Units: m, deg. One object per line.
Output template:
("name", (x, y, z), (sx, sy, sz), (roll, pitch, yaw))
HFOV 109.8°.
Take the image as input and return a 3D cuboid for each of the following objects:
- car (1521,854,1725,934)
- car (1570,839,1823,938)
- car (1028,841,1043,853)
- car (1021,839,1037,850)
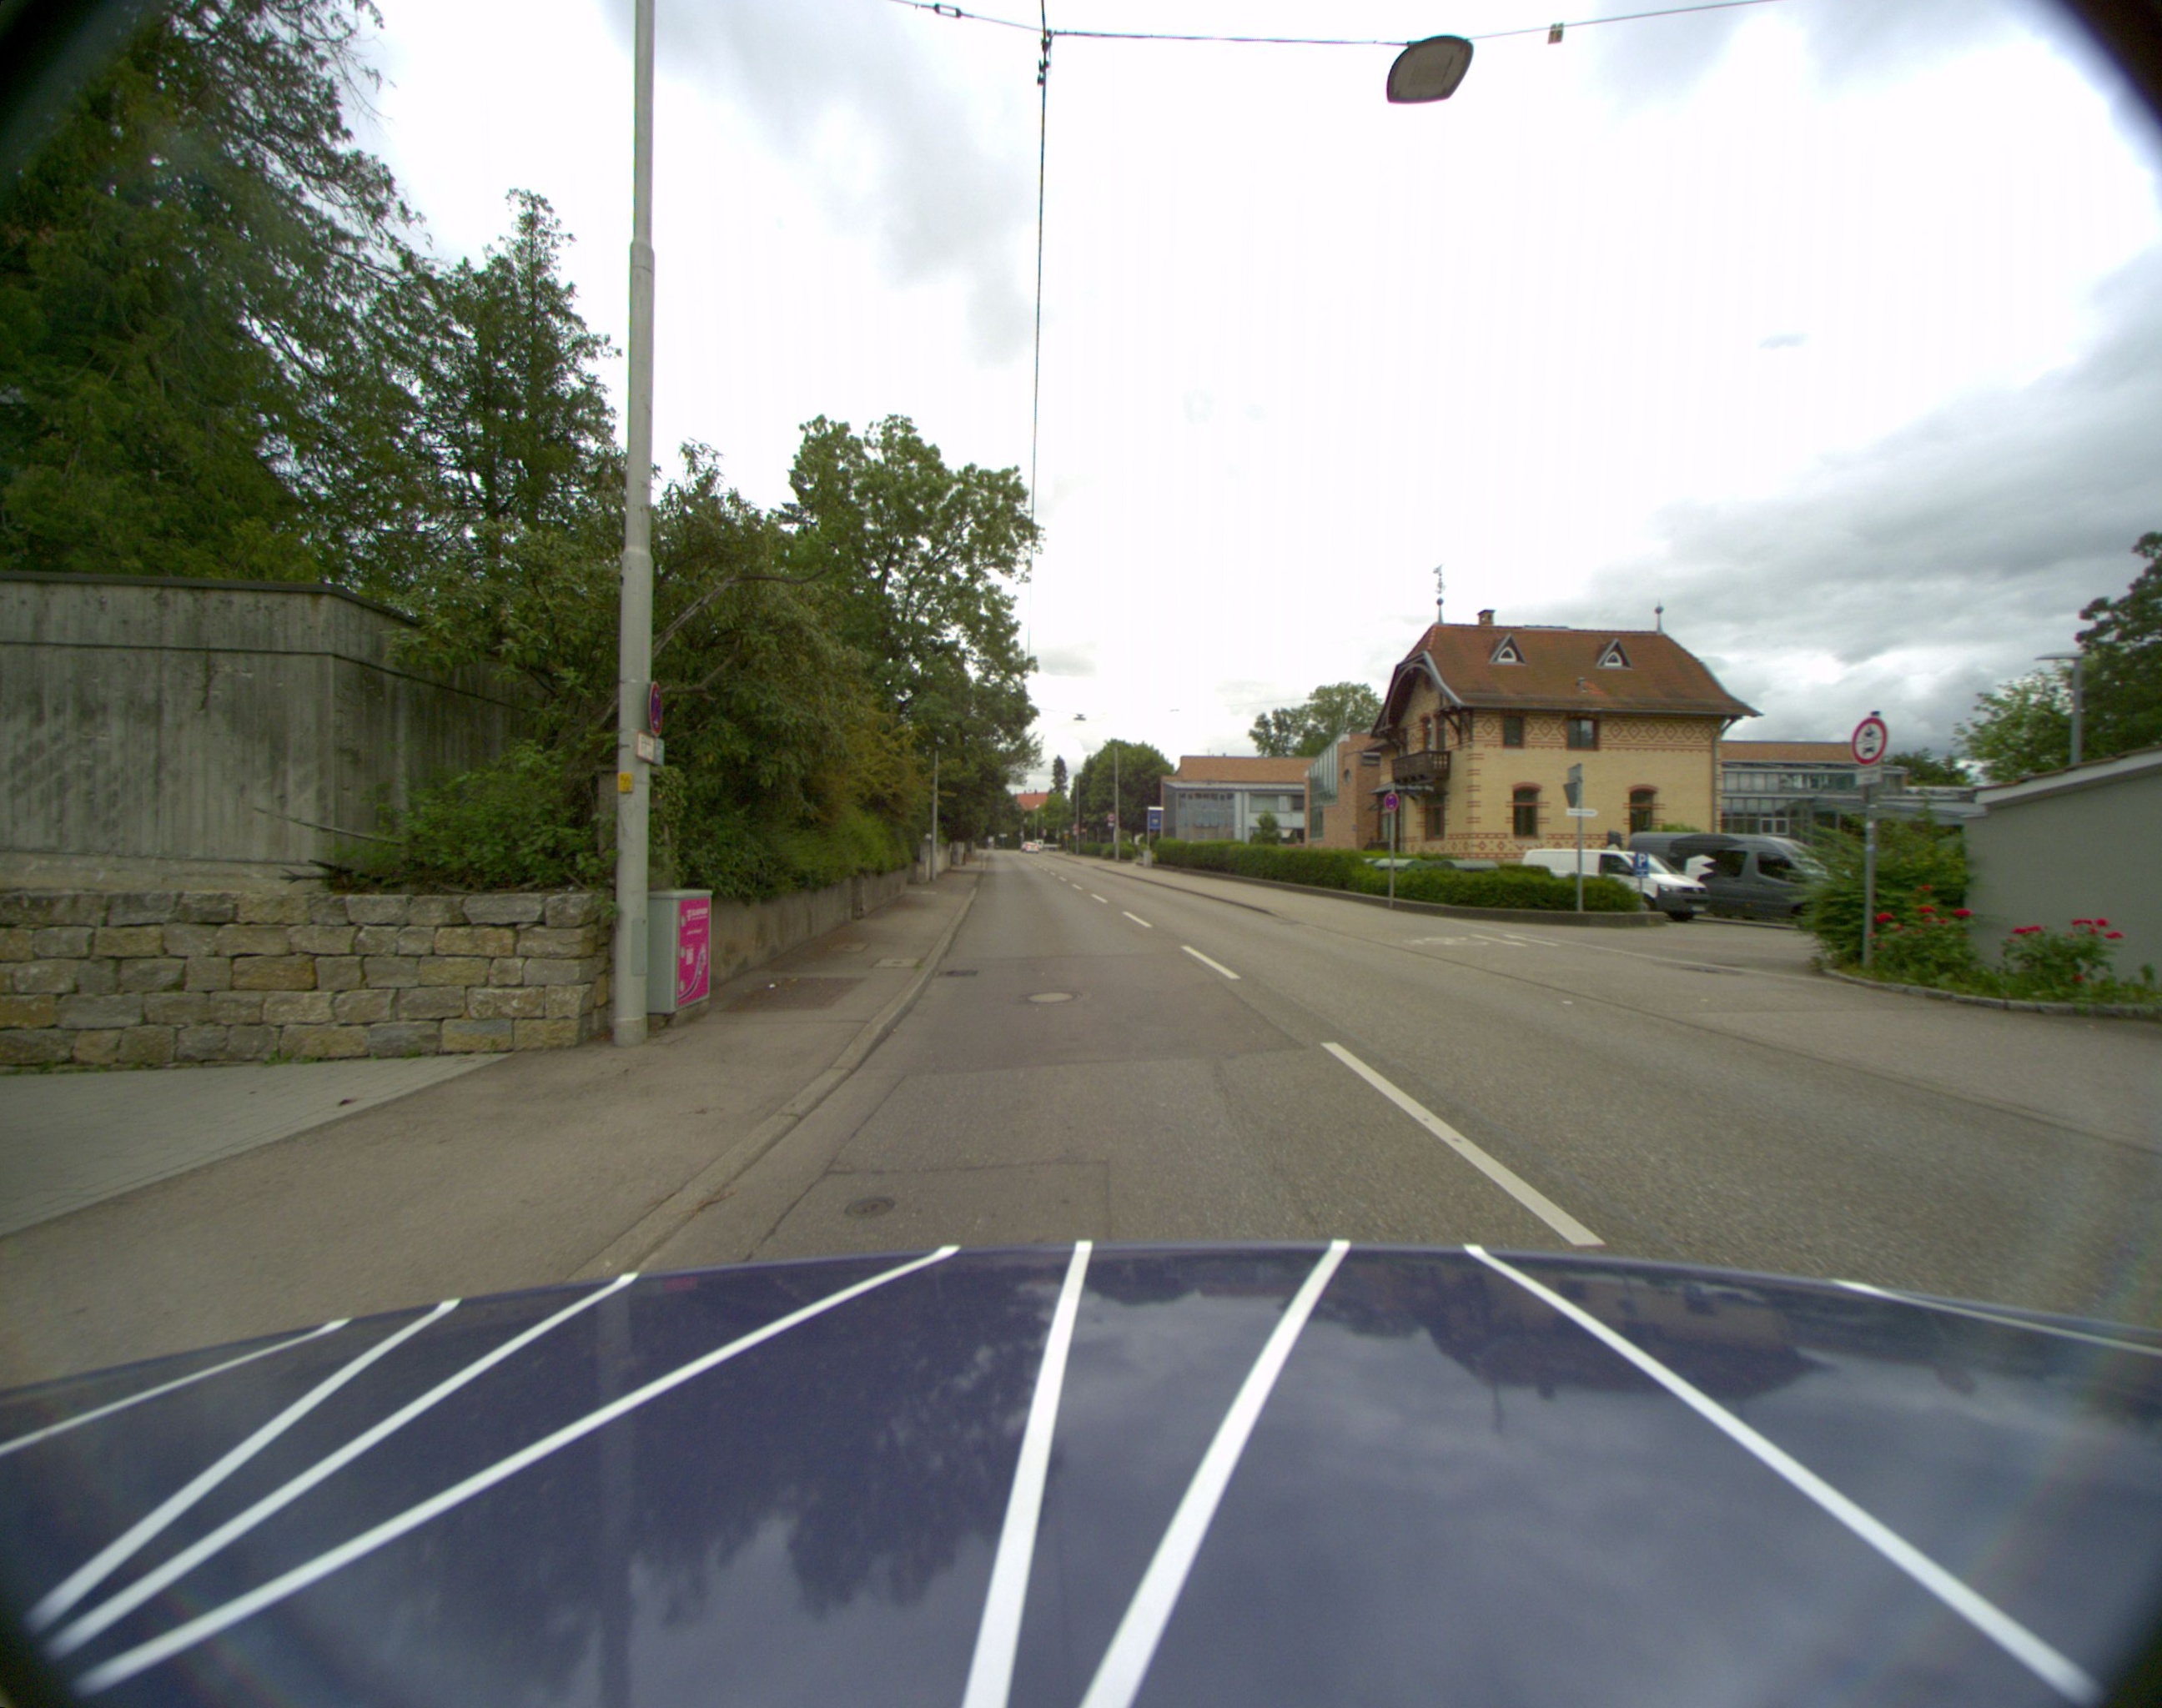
("car", (15.516, 1.046, 22.113), (1.896, 2.057, 4.609), (1, 0, -16))
("car", (18.321, 0.921, 23.102), (2.002, 2.603, 5.711), (1, 0, -20))
("car", (-6.692, -1.046, 112.175), (2.000, 1.701, 3.998), (1, 0, -6))
("car", (-8.091, -1.436, 118.985), (2.000, 1.701, 3.996), (1, 0, -11))
